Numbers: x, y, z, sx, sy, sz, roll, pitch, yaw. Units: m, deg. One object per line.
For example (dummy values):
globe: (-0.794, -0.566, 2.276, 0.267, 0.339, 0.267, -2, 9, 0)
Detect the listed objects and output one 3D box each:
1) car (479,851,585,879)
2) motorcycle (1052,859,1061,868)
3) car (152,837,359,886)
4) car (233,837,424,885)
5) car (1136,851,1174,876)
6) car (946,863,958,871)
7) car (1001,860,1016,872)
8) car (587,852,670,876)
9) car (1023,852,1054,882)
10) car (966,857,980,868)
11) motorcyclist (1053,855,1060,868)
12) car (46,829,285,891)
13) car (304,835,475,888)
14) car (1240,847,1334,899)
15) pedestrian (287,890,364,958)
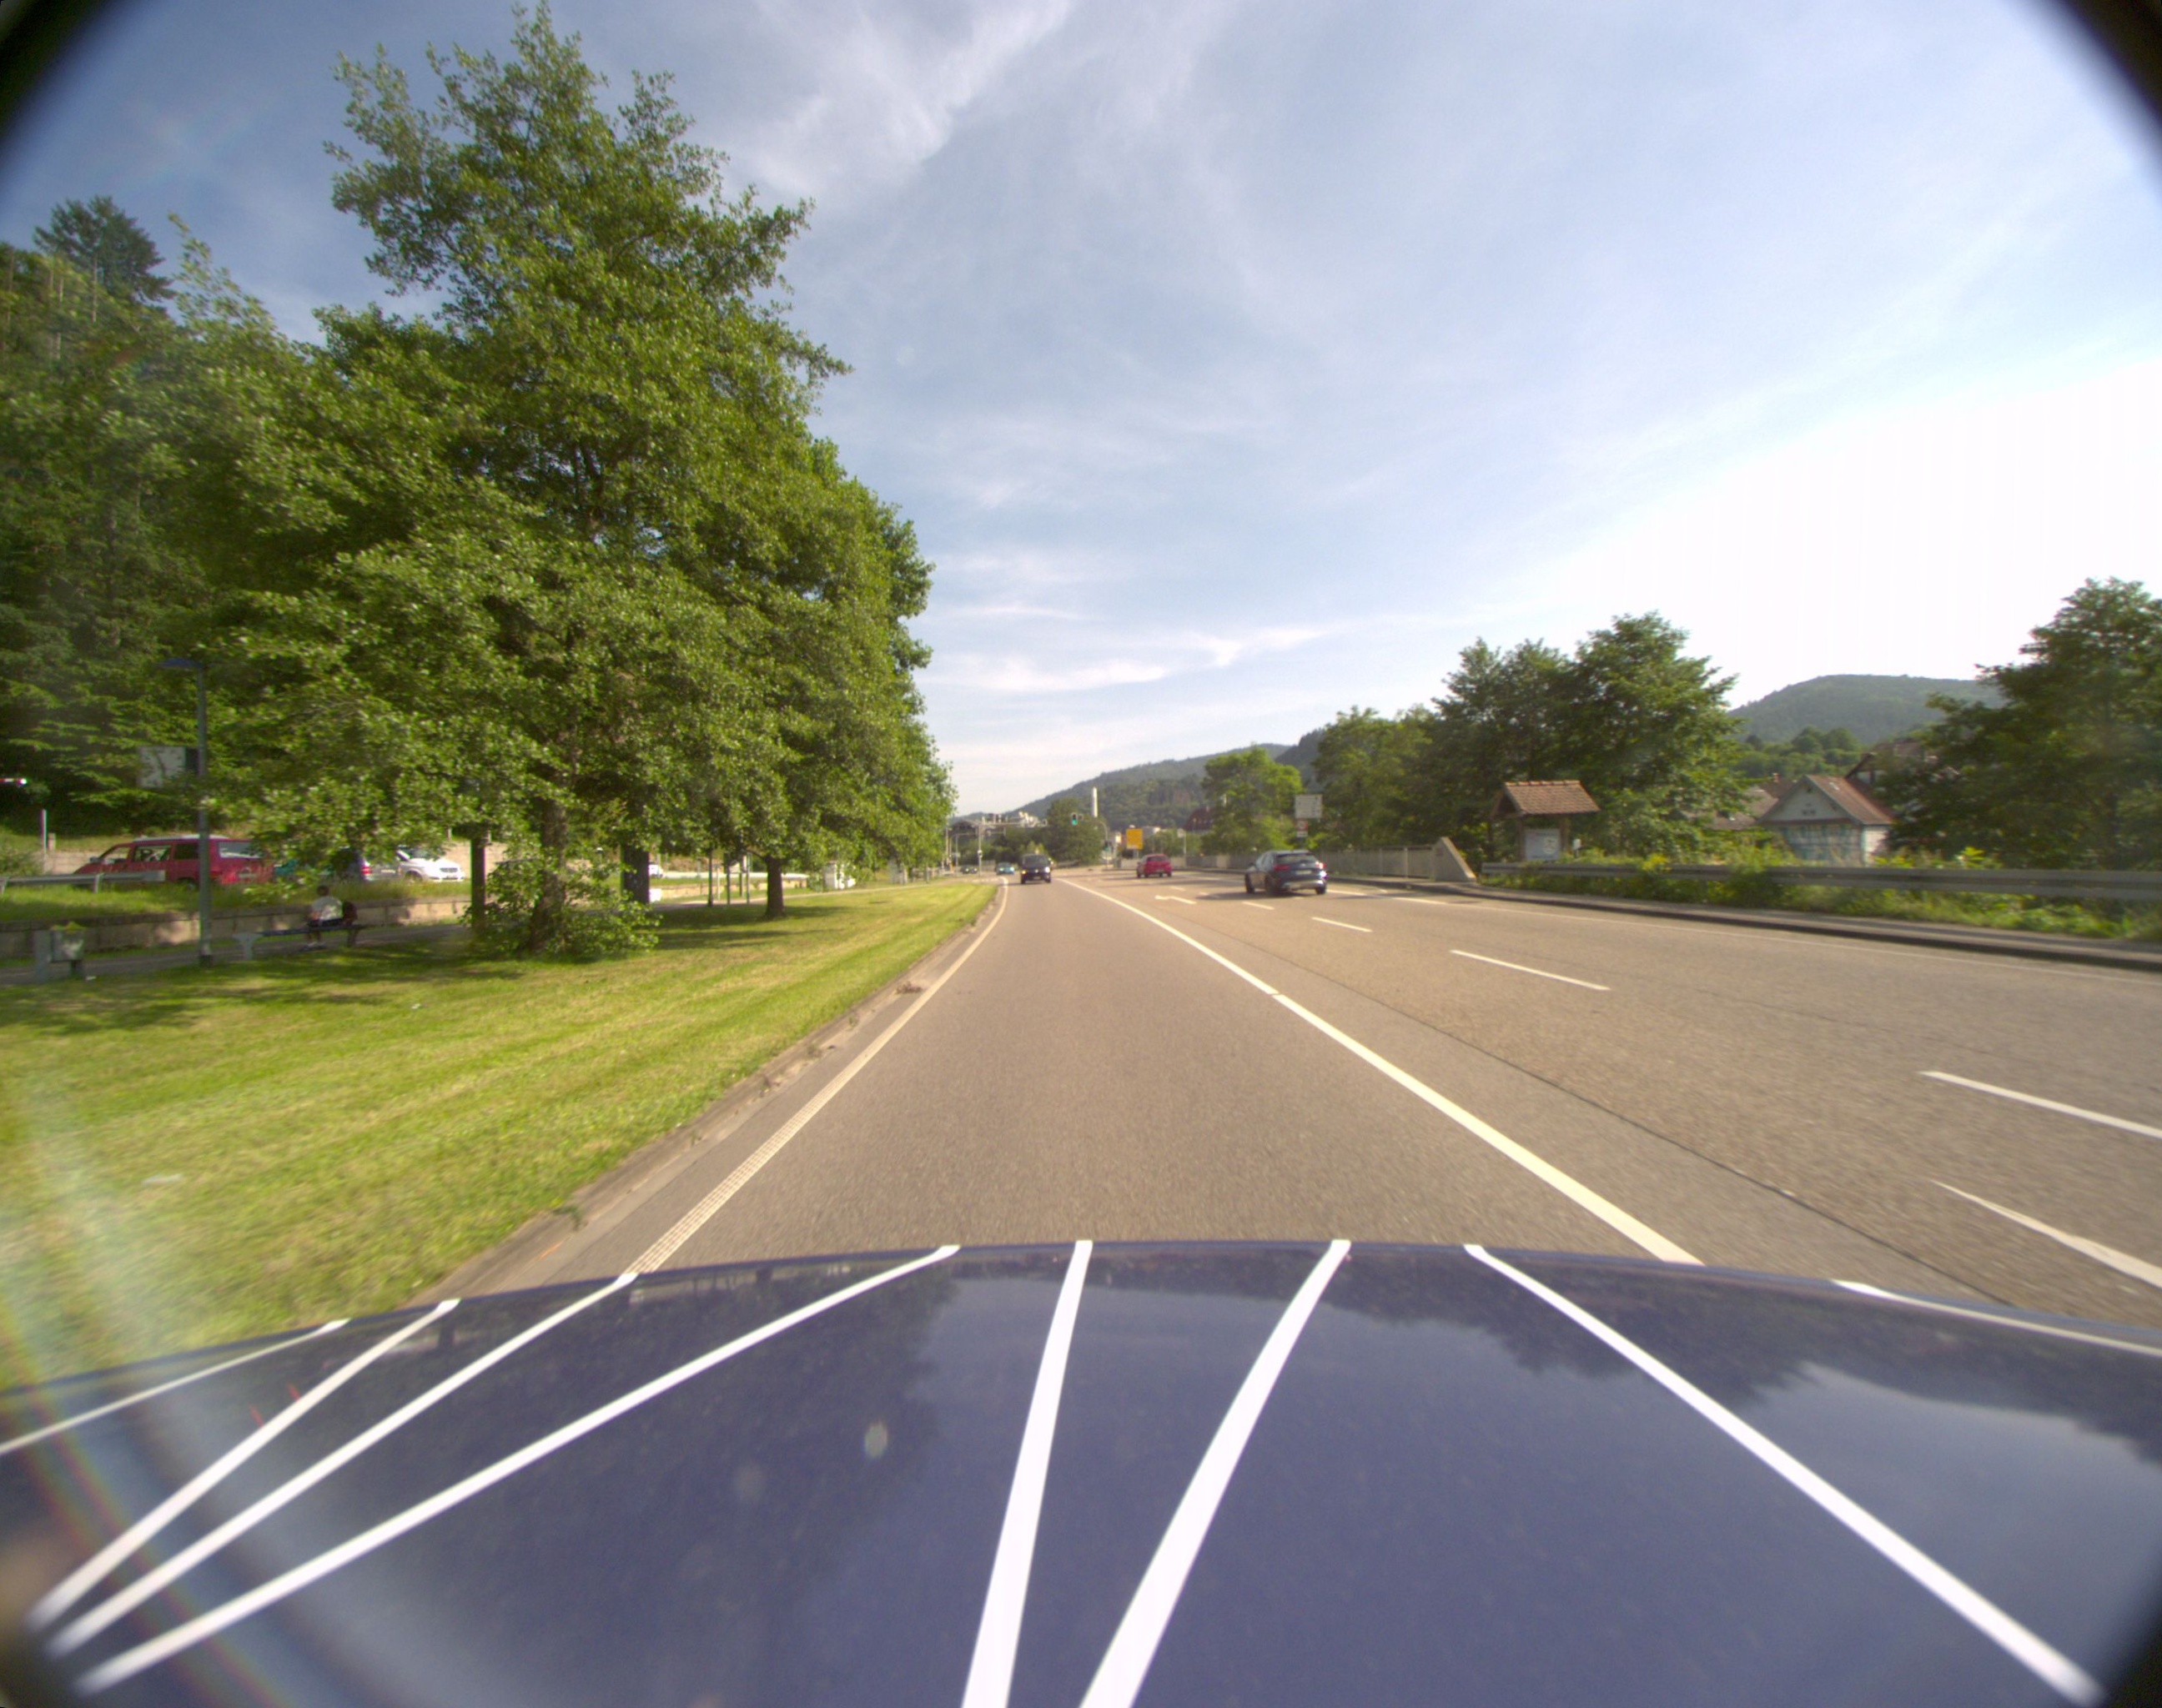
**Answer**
car: (-29.360, 0.582, 40.747, 4.276, 1.335, 1.831, -2, 0, -1)
motorcycle: (-3.411, 1.265, 105.546, 0.975, 1.214, 2.571, -3, 0, -5)
car: (-28.394, 0.266, 26.262, 4.964, 1.459, 1.895, -2, 0, -1)
car: (-28.341, 0.259, 28.754, 4.964, 1.578, 2.141, -2, 0, -1)
car: (4.752, 0.595, 49.385, 1.680, 1.451, 4.200, -3, 0, -4)
car: (-25.201, 2.515, 148.115, 1.879, 1.452, 3.724, 0, 0, -16)
car: (-9.012, 1.501, 94.821, 1.768, 1.452, 3.575, 0, 0, -3)
car: (-28.917, 0.625, 48.637, 4.107, 1.390, 1.809, -2, 0, -1)
car: (-2.766, 0.827, 49.961, 1.909, 1.868, 4.346, 0, 0, -3)
car: (-18.146, 1.445, 127.337, 2.000, 1.783, 3.996, 0, 0, -11)
motorcyclist: (-3.419, 0.993, 105.625, 0.847, 1.774, 1.171, -3, 0, -5)
car: (-28.336, 0.180, 23.649, 4.964, 1.681, 1.936, -2, 0, -1)
car: (-28.313, 0.290, 31.231, 4.964, 1.932, 2.141, -2, 0, -1)
car: (6.742, 0.586, 25.377, 1.856, 1.461, 4.542, -3, 0, 1)
pedestrian: (-13.639, 1.242, 13.733, 0.636, 1.154, 0.727, 0, 0, 8)
